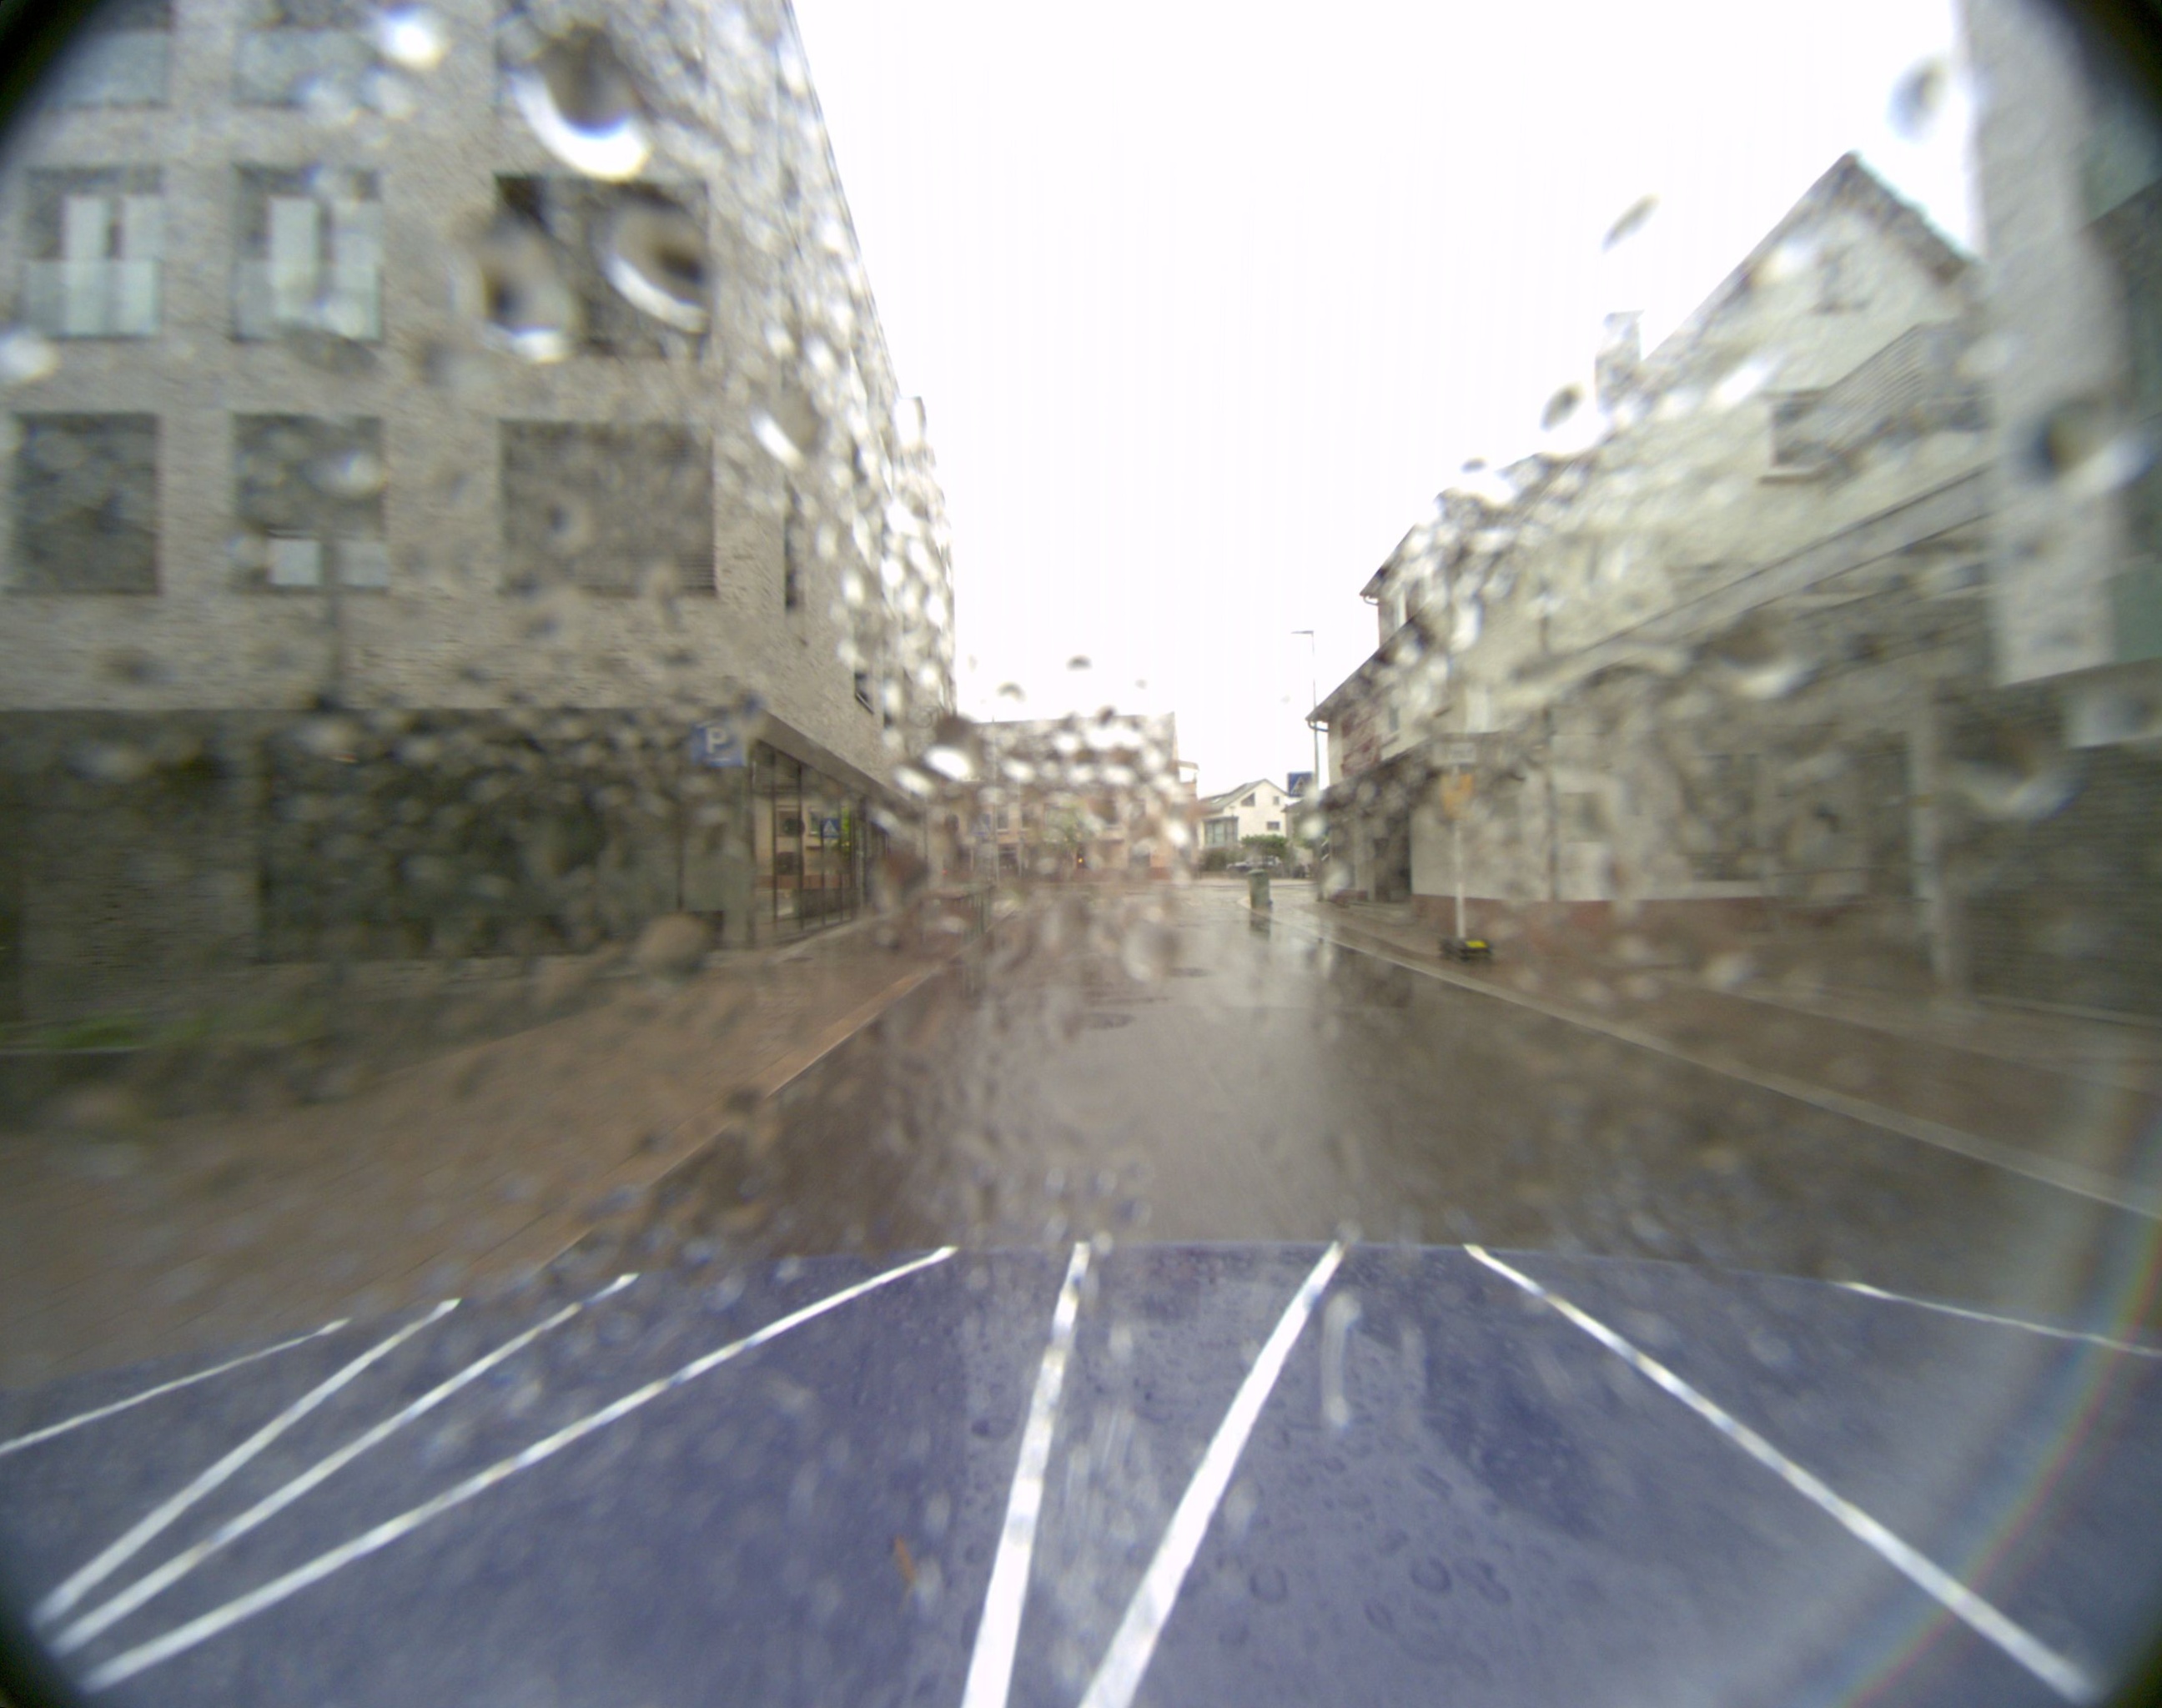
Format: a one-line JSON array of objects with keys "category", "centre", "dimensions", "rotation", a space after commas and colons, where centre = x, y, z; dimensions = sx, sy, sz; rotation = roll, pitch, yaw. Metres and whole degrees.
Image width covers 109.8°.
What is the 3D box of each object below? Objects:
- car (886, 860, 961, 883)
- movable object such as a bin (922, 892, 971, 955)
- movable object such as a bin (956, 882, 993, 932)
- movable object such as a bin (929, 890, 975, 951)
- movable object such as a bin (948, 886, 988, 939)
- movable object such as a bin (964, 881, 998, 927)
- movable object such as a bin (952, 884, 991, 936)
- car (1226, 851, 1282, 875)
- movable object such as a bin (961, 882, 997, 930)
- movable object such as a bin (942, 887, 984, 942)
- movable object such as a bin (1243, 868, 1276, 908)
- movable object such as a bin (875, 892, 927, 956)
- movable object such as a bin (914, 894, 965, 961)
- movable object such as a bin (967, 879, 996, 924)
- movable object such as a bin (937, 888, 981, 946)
[{"category": "car", "centre": [-10.297, 1.168, 49.774], "dimensions": [4.461, 1.422, 1.672], "rotation": [-1, -1, 11]}, {"category": "movable object such as a bin", "centre": [-2.414, 1.239, 13.683], "dimensions": [0.768, 1.089, 0.581], "rotation": [0, 0, 0]}, {"category": "movable object such as a bin", "centre": [-2.411, 1.200, 17.286], "dimensions": [0.768, 1.089, 0.581], "rotation": [0, 0, 0]}, {"category": "movable object such as a bin", "centre": [-2.416, 1.234, 14.276], "dimensions": [0.768, 1.089, 0.581], "rotation": [0, 0, 0]}, {"category": "movable object such as a bin", "centre": [-2.390, 1.228, 16.099], "dimensions": [0.768, 1.089, 0.581], "rotation": [0, 0, 0]}, {"category": "movable object such as a bin", "centre": [-2.422, 1.209, 18.475], "dimensions": [0.742, 1.089, 0.657], "rotation": [0, 0, -1]}, {"category": "movable object such as a bin", "centre": [-2.404, 1.223, 16.699], "dimensions": [0.768, 1.089, 0.581], "rotation": [0, 0, 0]}, {"category": "car", "centre": [14.662, 0.748, 64.242], "dimensions": [4.479, 2.002, 2.003], "rotation": [0, 0, 17]}, {"category": "movable object such as a bin", "centre": [-2.403, 1.206, 17.890], "dimensions": [0.768, 1.089, 0.581], "rotation": [0, 0, 0]}, {"category": "movable object such as a bin", "centre": [-2.394, 1.222, 15.490], "dimensions": [0.768, 1.089, 0.581], "rotation": [0, 0, 0]}, {"category": "movable object such as a bin", "centre": [5.163, 0.973, 22.003], "dimensions": [0.689, 1.075, 0.760], "rotation": [-4, 1, -2]}, {"category": "movable object such as a bin", "centre": [-3.182, 1.230, 13.477], "dimensions": [0.768, 1.089, 0.627], "rotation": [0, 0, 0]}, {"category": "movable object such as a bin", "centre": [-2.411, 1.250, 13.019], "dimensions": [0.768, 1.089, 0.581], "rotation": [0, 0, 0]}, {"category": "movable object such as a bin", "centre": [-2.485, 1.185, 19.110], "dimensions": [0.665, 1.089, 0.551], "rotation": [0, 0, -2]}, {"category": "movable object such as a bin", "centre": [-2.389, 1.224, 14.896], "dimensions": [0.768, 1.089, 0.581], "rotation": [0, 0, 0]}]
